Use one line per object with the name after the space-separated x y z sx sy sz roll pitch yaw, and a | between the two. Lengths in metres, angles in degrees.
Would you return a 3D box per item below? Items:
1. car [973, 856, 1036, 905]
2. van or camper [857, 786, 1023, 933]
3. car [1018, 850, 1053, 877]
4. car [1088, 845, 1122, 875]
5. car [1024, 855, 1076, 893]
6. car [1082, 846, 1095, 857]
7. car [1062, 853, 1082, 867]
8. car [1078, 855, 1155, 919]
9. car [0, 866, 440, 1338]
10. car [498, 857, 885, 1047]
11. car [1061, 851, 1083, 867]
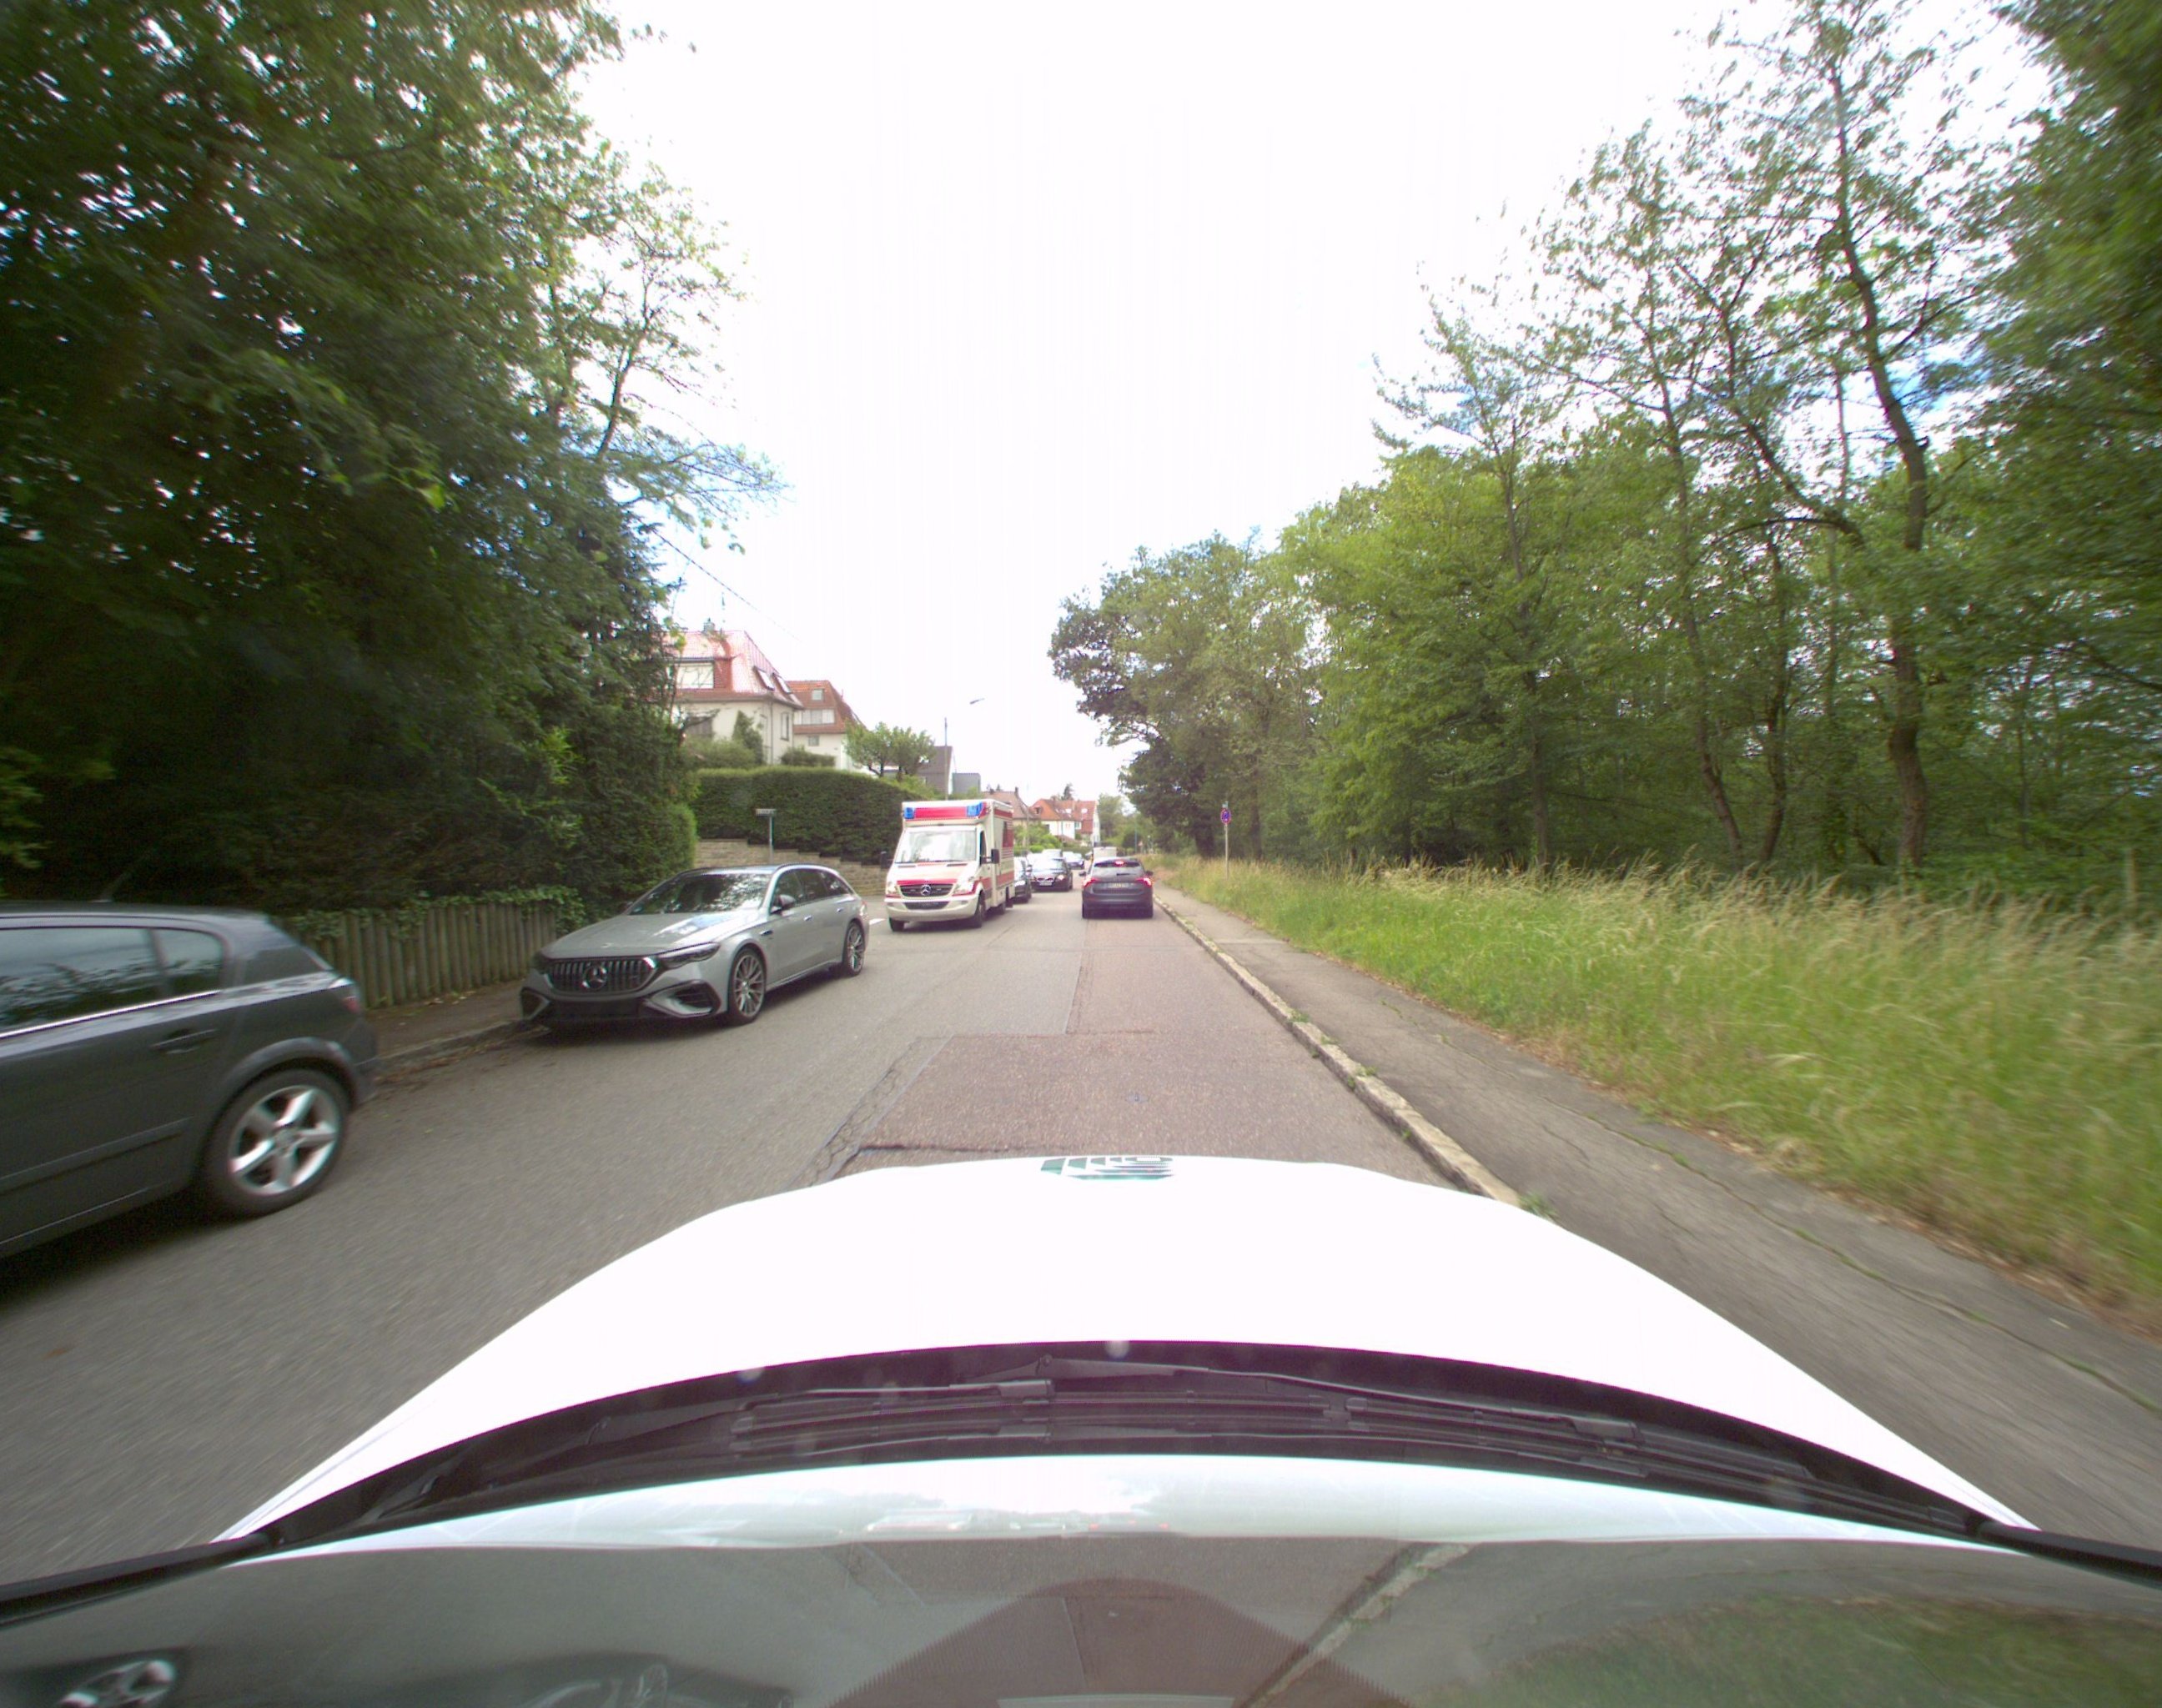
-2.494 0.824 27.355 1.758 1.446 4.471 -1 0 -2 | car
-3.086 0.097 19.909 2.446 2.895 7.172 -1 0 2 | van or camper
-2.950 0.607 53.478 1.831 1.648 4.188 0 0 3 | car
1.585 0.384 55.233 2.066 1.922 4.919 0 0 -2 | car
-1.252 0.785 34.721 1.756 1.446 4.477 -1 0 3 | car
1.166 -0.417 121.874 1.827 1.597 4.325 0 1 1 | car
-0.955 0.620 91.832 1.774 1.500 4.022 0 0 6 | car
0.817 0.756 20.997 1.723 1.439 4.321 0 0 -1 | car
-4.395 0.855 2.376 1.714 1.505 4.061 -3 0 1 | car
-3.900 0.846 9.342 1.790 1.505 4.868 -3 0 3 | car
-0.810 0.432 75.937 1.856 1.414 4.593 0 0 1 | car
